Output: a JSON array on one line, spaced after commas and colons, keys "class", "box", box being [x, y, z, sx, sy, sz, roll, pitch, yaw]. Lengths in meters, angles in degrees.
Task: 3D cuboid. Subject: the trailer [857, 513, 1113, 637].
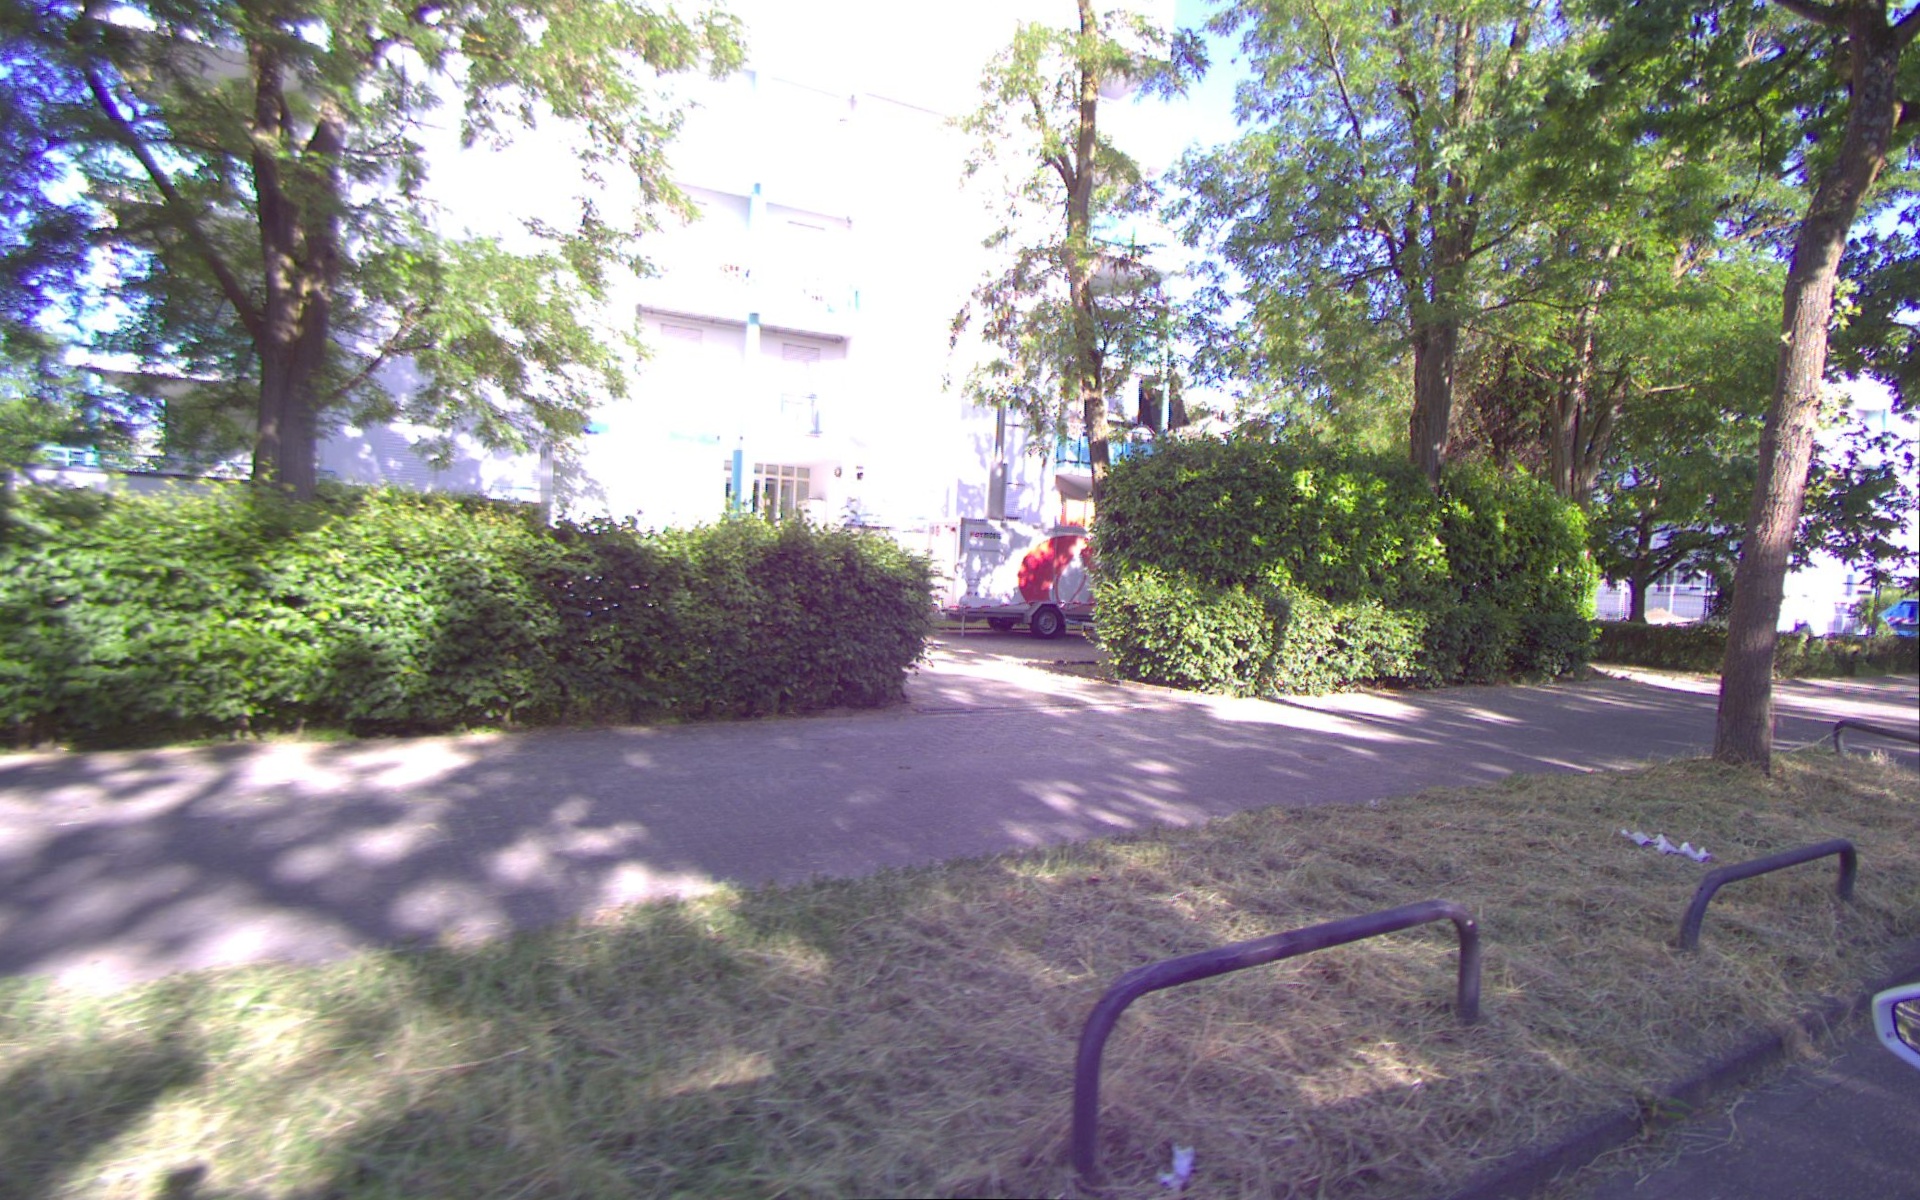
[{"class": "trailer", "box": [0.477, -0.432, 19.008, 4.370, 2.070, 1.970, 2, 2, -26]}]
